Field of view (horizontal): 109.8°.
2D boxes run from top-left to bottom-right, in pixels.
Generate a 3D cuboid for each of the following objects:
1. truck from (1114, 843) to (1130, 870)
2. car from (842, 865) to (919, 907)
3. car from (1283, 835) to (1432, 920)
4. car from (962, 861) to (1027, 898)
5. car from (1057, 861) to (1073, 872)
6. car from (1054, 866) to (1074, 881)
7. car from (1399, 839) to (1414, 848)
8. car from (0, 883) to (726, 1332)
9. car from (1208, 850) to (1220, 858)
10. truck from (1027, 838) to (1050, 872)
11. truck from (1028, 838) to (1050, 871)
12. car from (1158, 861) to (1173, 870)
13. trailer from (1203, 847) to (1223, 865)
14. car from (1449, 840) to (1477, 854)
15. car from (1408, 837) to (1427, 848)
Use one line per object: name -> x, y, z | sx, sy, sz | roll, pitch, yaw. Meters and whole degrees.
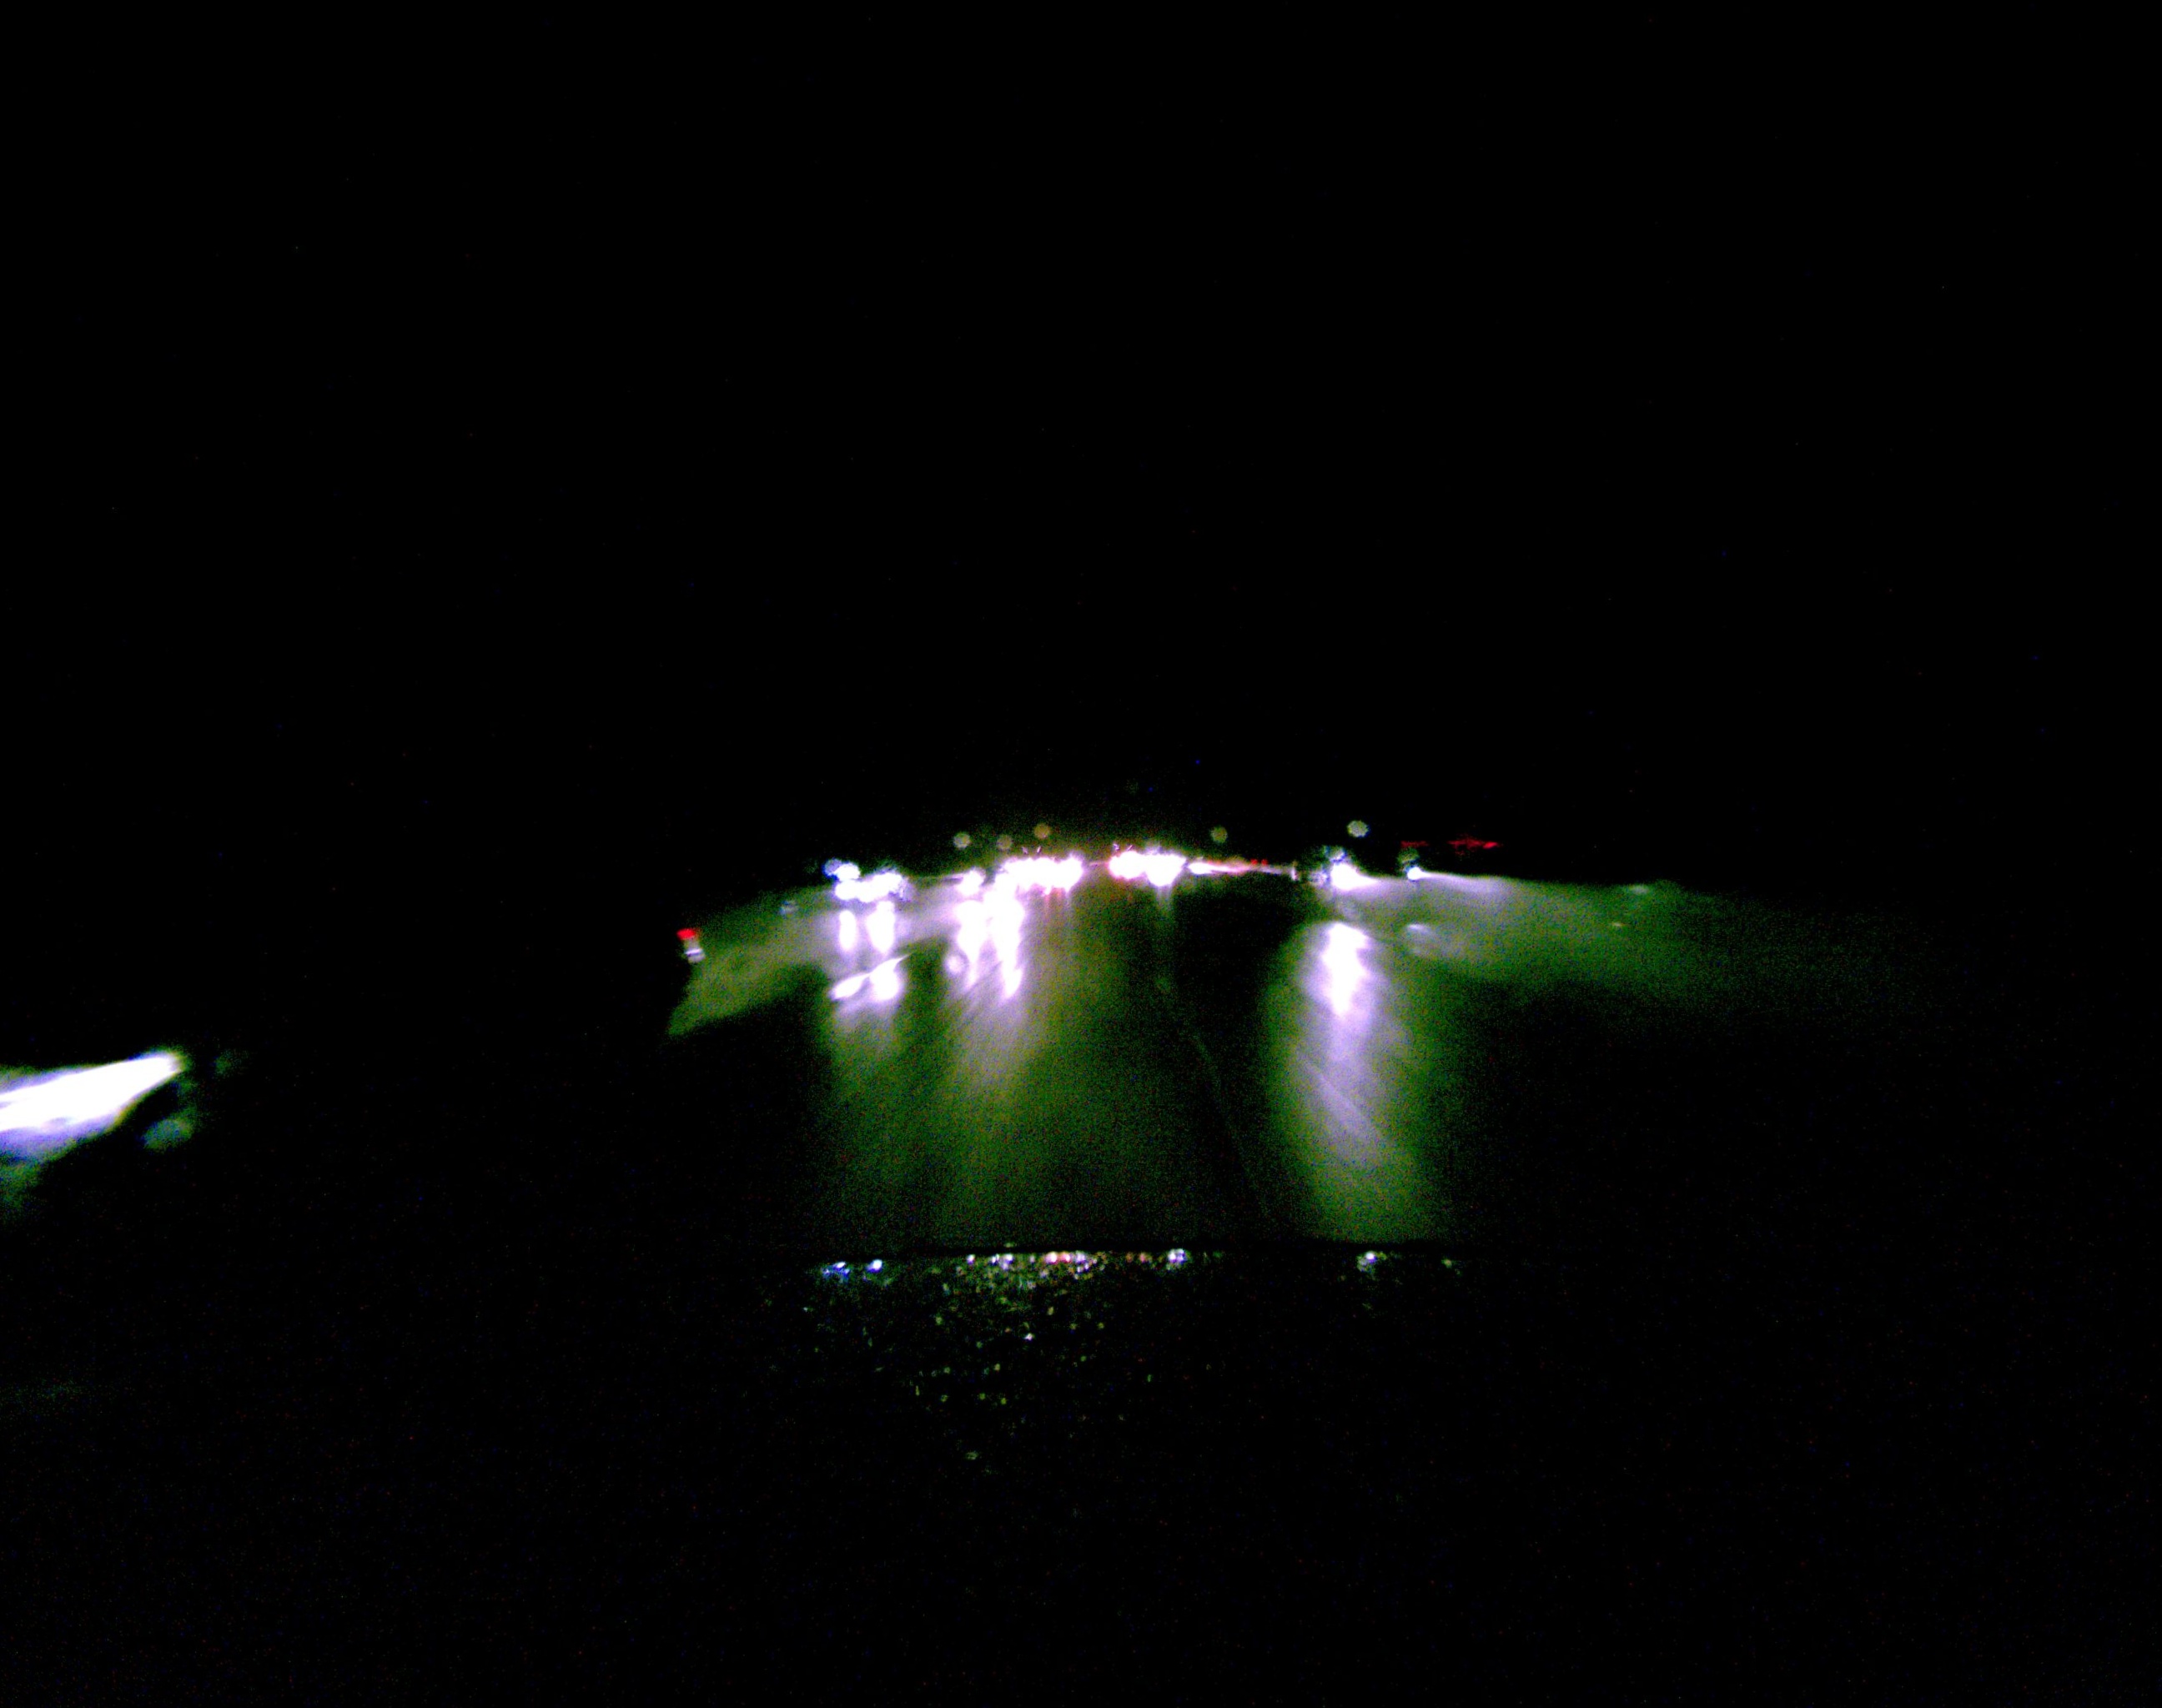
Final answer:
truck -> 6.614, 0.336, 123.729 | 2.503, 4.224, 5.981 | 1, 2, 2
car -> -7.974, 1.232, 30.600 | 1.723, 1.488, 4.045 | -3, 0, 4
car -> 6.921, 0.527, 19.753 | 2.141, 1.873, 5.557 | -1, 0, 4
car -> -3.725, 1.067, 33.569 | 1.998, 1.440, 4.337 | -3, 0, 4
car -> -1.869, 1.461, 89.340 | 1.712, 1.286, 3.991 | 1, -1, -3
car -> -1.653, 1.843, 72.007 | 1.712, 1.286, 3.991 | 1, -1, -3
car -> 57.839, -1.822, 134.861 | 1.772, 1.397, 3.244 | -2, 0, 11
car -> -4.730, 1.089, 5.396 | 2.063, 1.510, 5.015 | -2, 0, -1
car -> 25.407, 0.022, 145.621 | 1.736, 1.517, 4.292 | 1, 1, 3
truck -> -5.468, 0.100, 98.505 | 2.766, 4.199, 6.191 | 1, 2, -3
truck -> -5.773, -0.050, 105.241 | 2.766, 4.199, 13.819 | 1, 1, -3
car -> 11.725, 1.591, 105.630 | 1.711, 1.286, 3.992 | 1, -1, 1
trailer -> 32.151, 0.385, 185.553 | 2.819, 3.976, 13.929 | 1, 1, 2
car -> 53.643, -0.956, 106.787 | 1.998, 1.761, 4.571 | -2, 0, 6
car -> 62.924, -2.222, 142.029 | 1.997, 1.921, 4.689 | -2, 0, 8
